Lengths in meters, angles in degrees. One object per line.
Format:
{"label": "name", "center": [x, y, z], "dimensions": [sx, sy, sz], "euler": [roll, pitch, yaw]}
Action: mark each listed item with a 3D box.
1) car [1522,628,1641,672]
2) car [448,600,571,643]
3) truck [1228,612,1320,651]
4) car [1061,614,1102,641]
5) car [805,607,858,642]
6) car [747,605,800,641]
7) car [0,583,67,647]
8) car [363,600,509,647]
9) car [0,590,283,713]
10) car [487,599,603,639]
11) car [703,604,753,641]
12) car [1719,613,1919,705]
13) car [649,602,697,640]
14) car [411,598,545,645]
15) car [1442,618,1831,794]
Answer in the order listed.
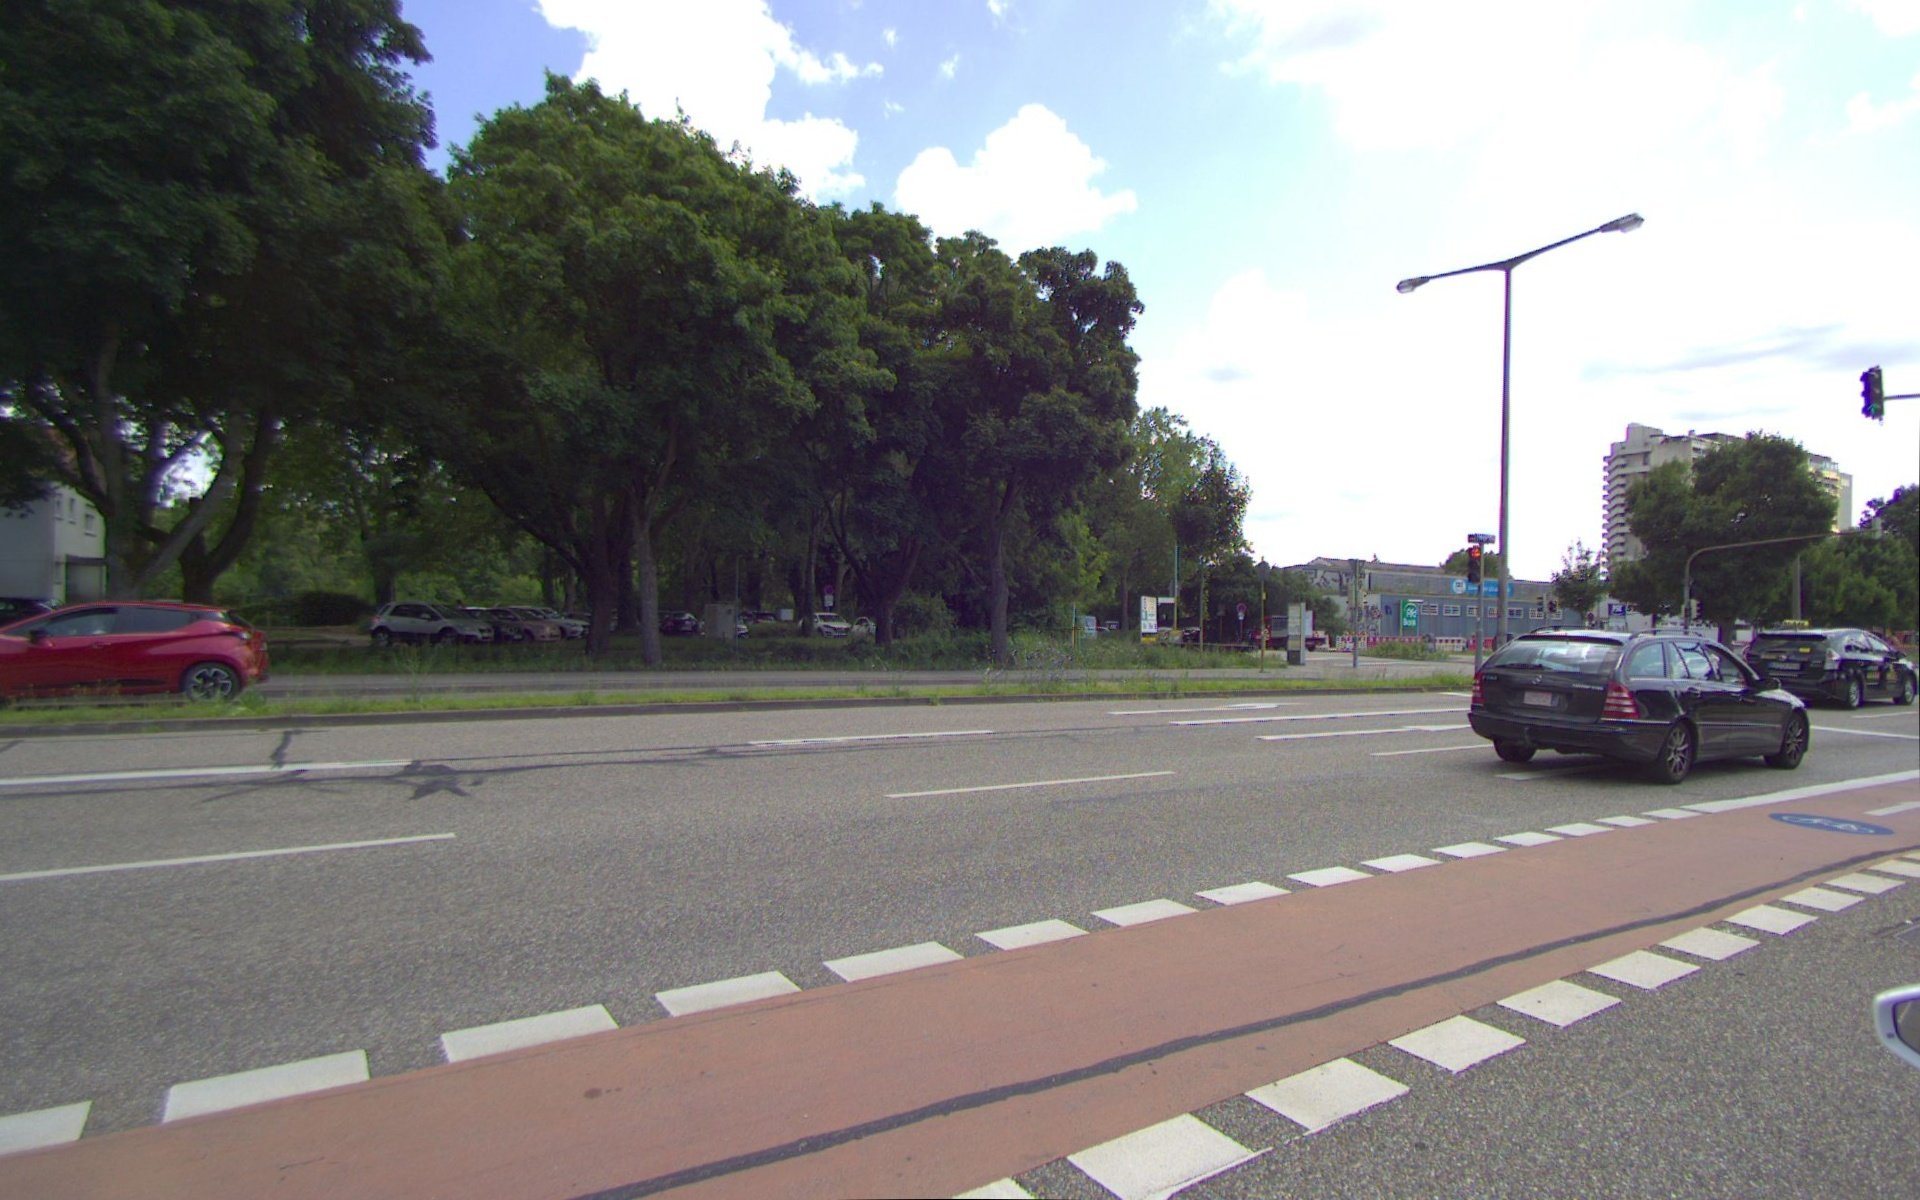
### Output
{"label": "car", "center": [21.816, 1.745, 35.237], "dimensions": [4.446, 1.451, 1.790], "euler": [2, -1, -32]}
{"label": "car", "center": [-17.624, 0.857, 39.393], "dimensions": [3.942, 1.608, 2.001], "euler": [-1, -1, 6]}
{"label": "truck", "center": [21.473, 2.130, 69.160], "dimensions": [2.987, 2.472, 6.971], "euler": [1, -1, -12]}
{"label": "car", "center": [8.934, 1.993, 74.122], "dimensions": [1.904, 1.817, 3.611], "euler": [2, 0, -12]}
{"label": "car", "center": [-6.884, 1.298, 53.476], "dimensions": [2.044, 1.748, 4.111], "euler": [1, -1, -19]}
{"label": "car", "center": [-9.551, 1.161, 51.186], "dimensions": [2.014, 1.748, 4.559], "euler": [1, -1, -19]}
{"label": "car", "center": [-26.442, 0.351, 26.415], "dimensions": [4.331, 1.679, 1.790], "euler": [2, 0, -42]}
{"label": "car", "center": [-17.839, 0.794, 34.329], "dimensions": [3.941, 1.503, 2.001], "euler": [1, -1, 6]}
{"label": "car", "center": [-11.864, 0.677, 13.996], "dimensions": [3.958, 1.532, 1.876], "euler": [2, 0, -33]}
{"label": "car", "center": [-17.258, 0.784, 41.876], "dimensions": [3.941, 1.565, 2.001], "euler": [1, -1, 6]}
{"label": "car", "center": [-11.677, 1.115, 50.337], "dimensions": [1.793, 1.732, 4.106], "euler": [1, -1, -22]}
{"label": "car", "center": [17.773, 1.199, 20.754], "dimensions": [4.288, 1.690, 1.777], "euler": [2, 0, -30]}
{"label": "car", "center": [-13.921, 1.027, 48.640], "dimensions": [1.793, 1.750, 4.106], "euler": [1, -1, -22]}
{"label": "car", "center": [-17.698, 0.789, 36.960], "dimensions": [3.941, 1.608, 2.001], "euler": [1, -1, 6]}
{"label": "car", "center": [7.273, 1.014, 10.687], "dimensions": [4.383, 1.485, 1.746], "euler": [2, 0, -31]}
